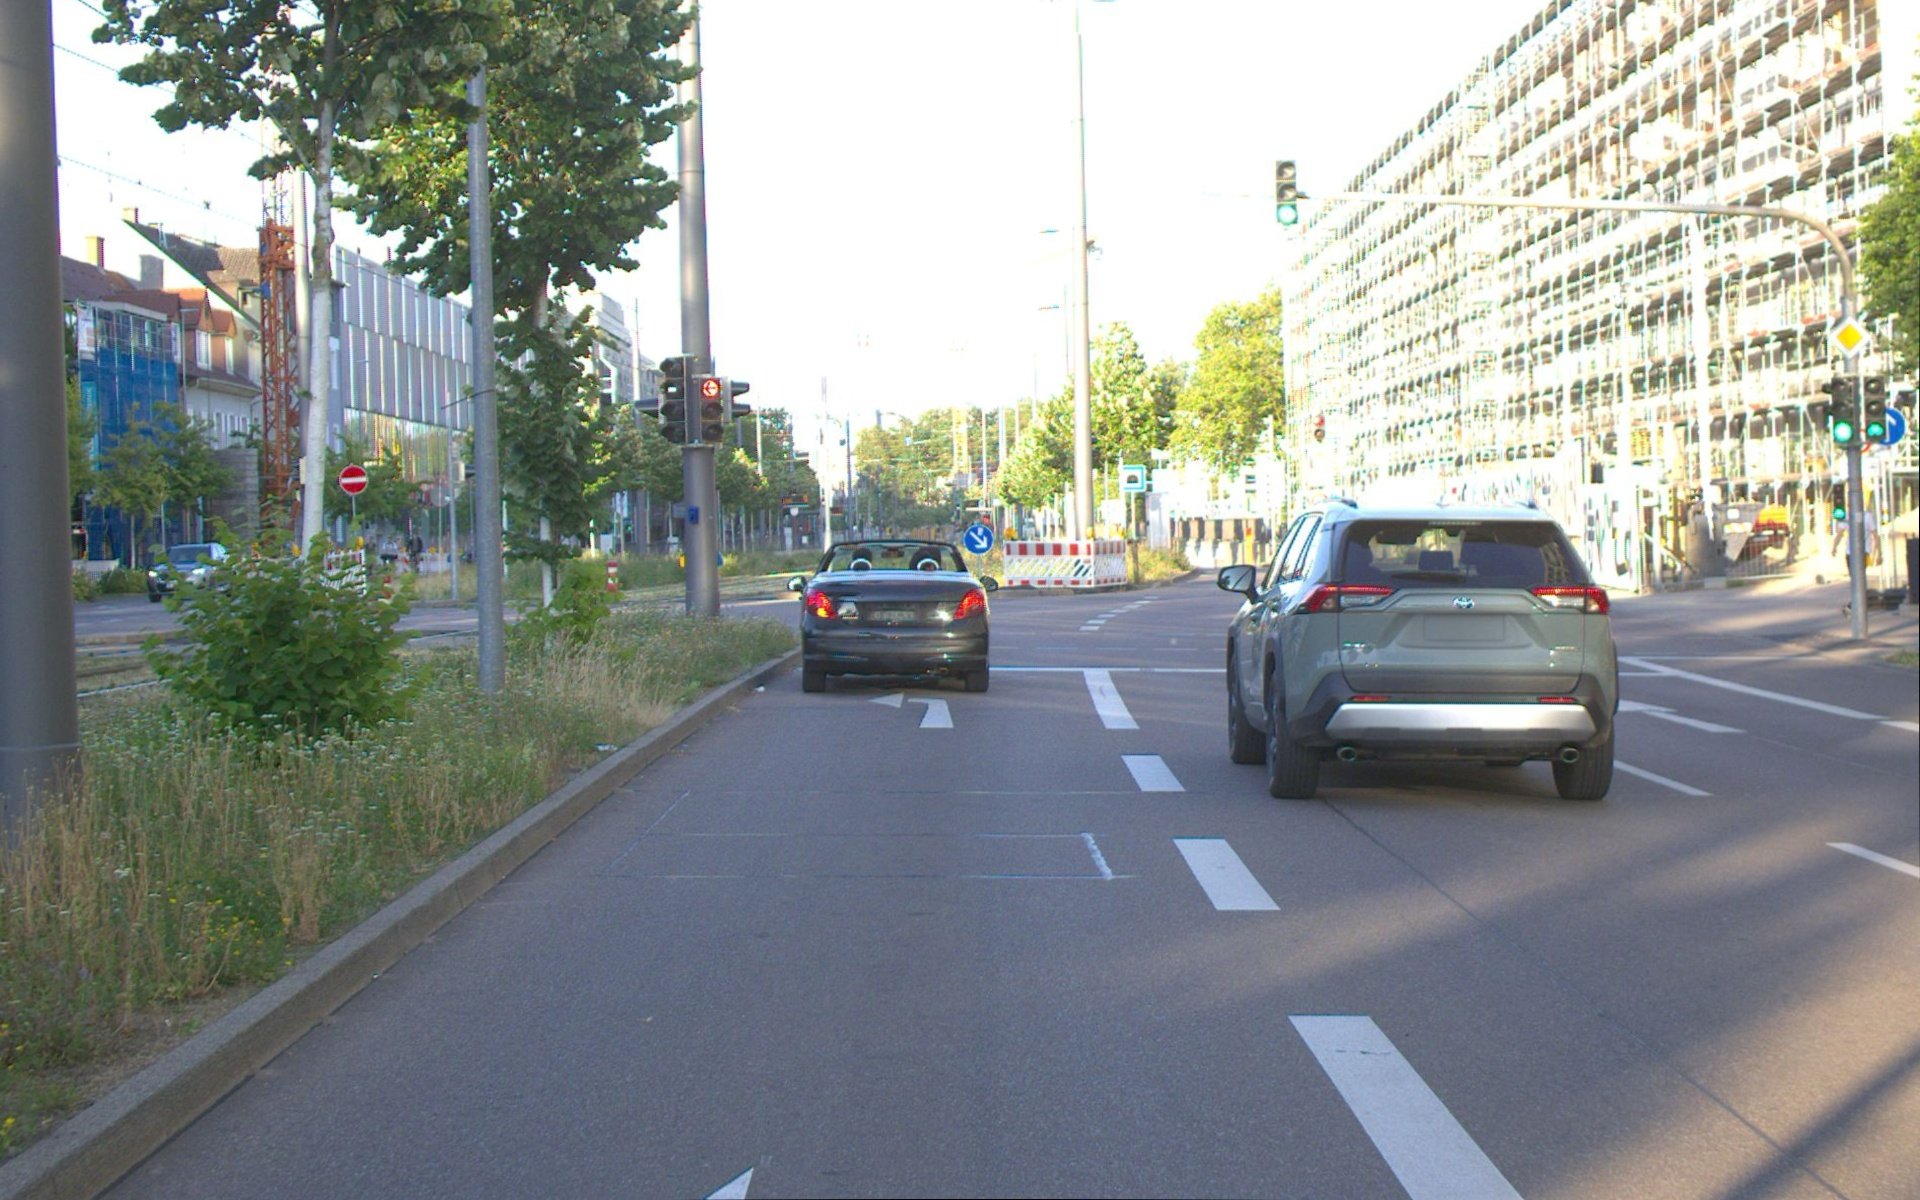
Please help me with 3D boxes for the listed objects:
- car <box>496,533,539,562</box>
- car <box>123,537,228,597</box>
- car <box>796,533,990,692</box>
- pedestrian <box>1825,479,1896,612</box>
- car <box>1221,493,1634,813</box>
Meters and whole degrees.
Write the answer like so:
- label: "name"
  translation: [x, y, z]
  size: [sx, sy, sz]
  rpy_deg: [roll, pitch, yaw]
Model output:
- label: "car"
  translation: [-23.163, -2.752, 180.063]
  size: [1.658, 1.426, 3.895]
  rpy_deg: [1, 2, 2]
- label: "car"
  translation: [-22.743, -0.966, 99.854]
  size: [1.993, 1.575, 4.124]
  rpy_deg: [-3, 2, 1]
- label: "car"
  translation: [-0.592, 0.070, 31.775]
  size: [1.674, 1.347, 4.000]
  rpy_deg: [0, 2, 0]
- label: "pedestrian"
  translation: [12.780, -0.775, 48.809]
  size: [0.768, 1.841, 0.678]
  rpy_deg: [-2, 1, 0]
- label: "car"
  translation: [2.603, 0.217, 20.084]
  size: [1.834, 1.666, 4.283]
  rpy_deg: [0, 2, 0]
